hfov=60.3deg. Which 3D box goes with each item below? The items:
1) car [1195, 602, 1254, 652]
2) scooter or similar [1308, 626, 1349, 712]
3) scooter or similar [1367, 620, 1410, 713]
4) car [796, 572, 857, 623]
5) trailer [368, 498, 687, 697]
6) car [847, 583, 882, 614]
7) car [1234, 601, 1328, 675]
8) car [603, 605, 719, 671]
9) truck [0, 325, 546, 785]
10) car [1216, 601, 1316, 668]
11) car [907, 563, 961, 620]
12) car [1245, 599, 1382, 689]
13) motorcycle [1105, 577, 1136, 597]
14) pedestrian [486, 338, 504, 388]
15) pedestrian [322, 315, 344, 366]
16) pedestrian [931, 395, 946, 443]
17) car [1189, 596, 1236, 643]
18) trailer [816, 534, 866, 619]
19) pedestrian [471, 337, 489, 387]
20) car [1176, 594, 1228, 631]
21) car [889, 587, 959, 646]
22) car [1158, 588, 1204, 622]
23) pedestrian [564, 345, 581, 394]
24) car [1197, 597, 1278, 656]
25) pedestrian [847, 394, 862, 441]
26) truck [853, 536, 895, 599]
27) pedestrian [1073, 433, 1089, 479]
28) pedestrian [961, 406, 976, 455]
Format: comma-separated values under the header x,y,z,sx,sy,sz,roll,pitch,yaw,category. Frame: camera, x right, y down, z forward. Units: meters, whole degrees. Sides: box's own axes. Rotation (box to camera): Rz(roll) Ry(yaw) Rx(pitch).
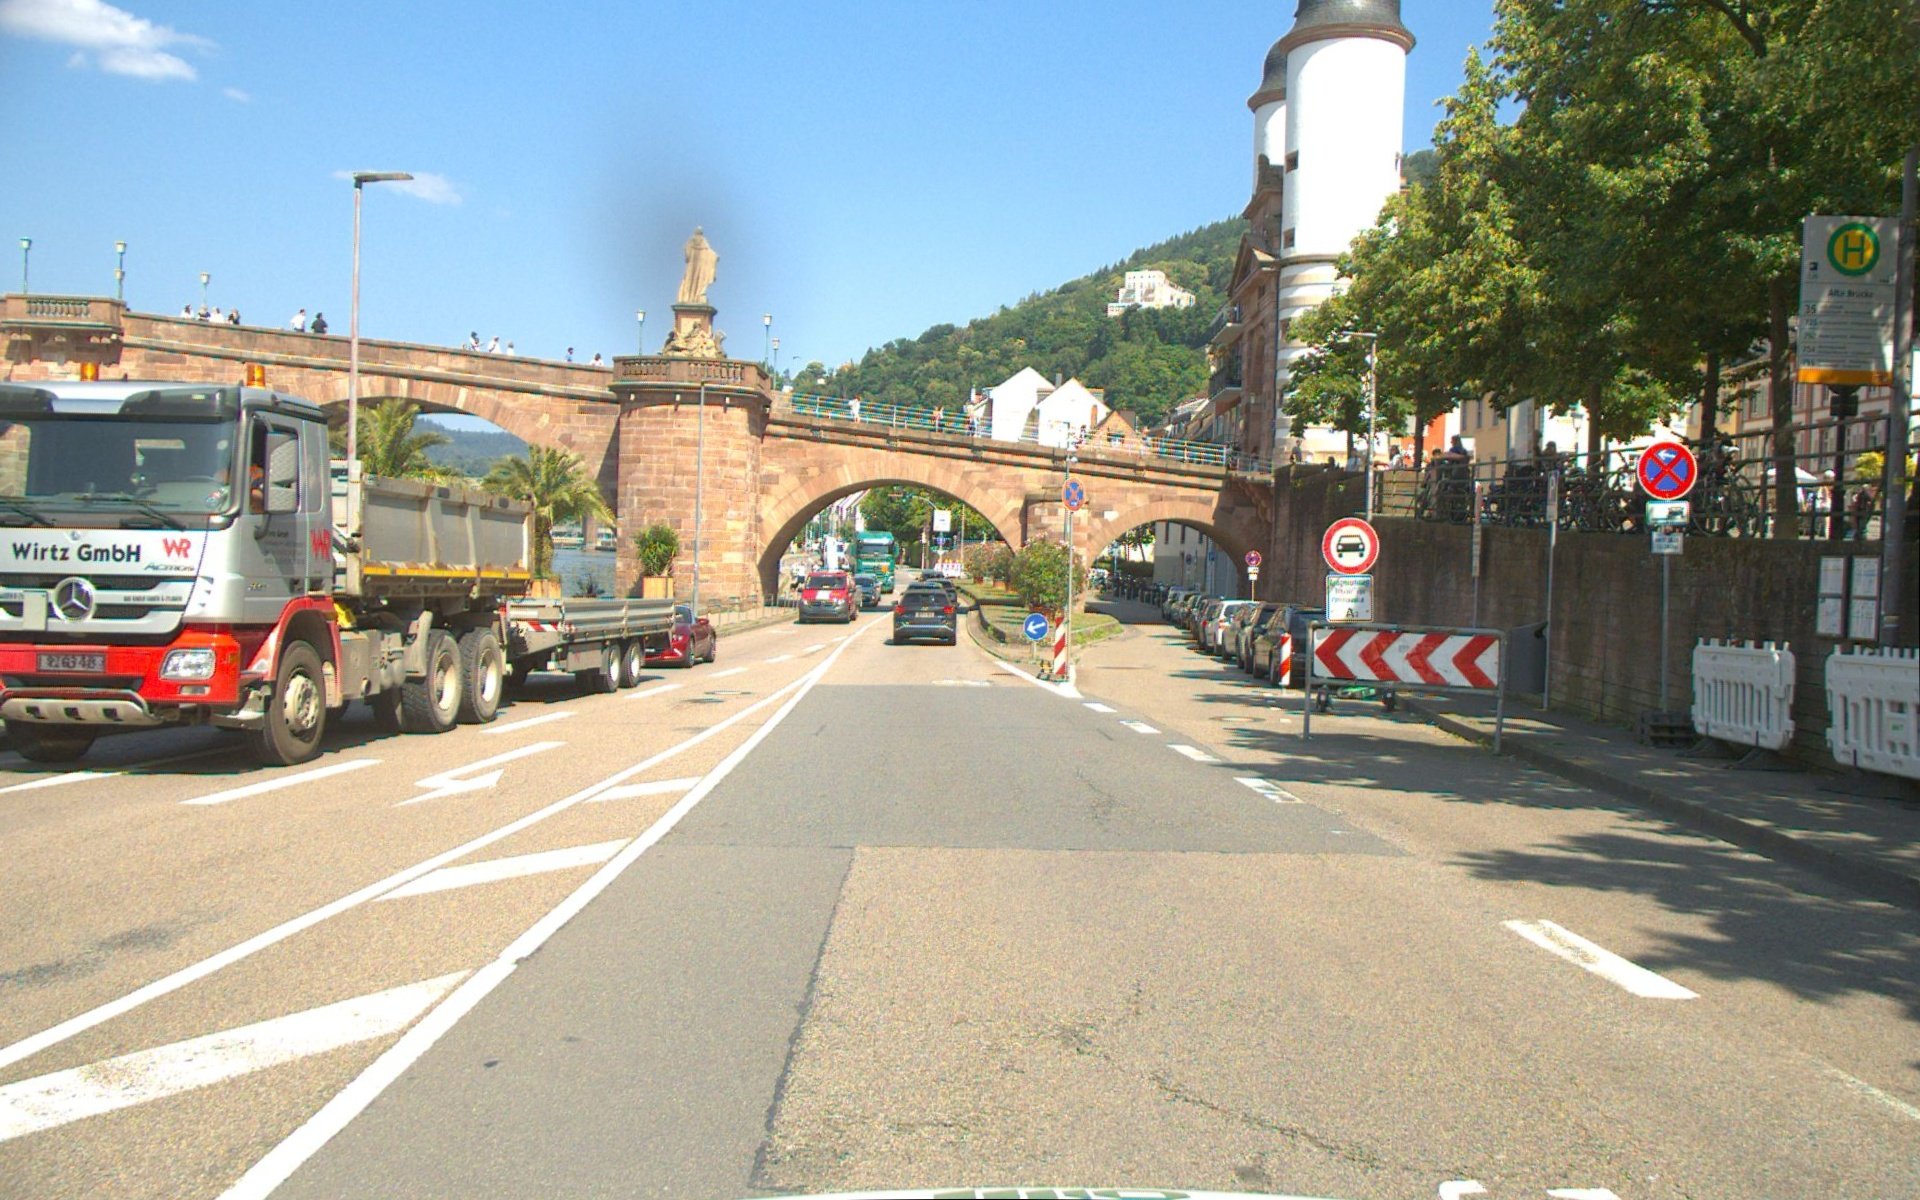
x,y,z,sx,sy,sz,roll,pitch,yaw,category
7.912,0.781,49.638,1.674,1.413,4.411,0,0,8,car
5.073,0.936,22.798,0.520,1.108,1.440,1,0,12,scooter or similar
6.089,0.925,23.479,0.520,1.252,1.272,1,0,17,scooter or similar
-5.003,-0.129,62.451,1.835,1.859,4.545,0,1,1,car
-6.195,-0.026,24.930,2.641,2.575,6.950,0,0,3,trailer
-4.776,-0.096,83.212,1.503,1.462,3.728,0,1,0,car
6.866,0.763,35.621,1.578,1.438,3.906,2,0,5,car
-5.976,0.737,33.442,1.637,1.215,3.629,0,0,1,car
-6.650,-0.346,16.653,2.587,3.517,7.874,0,0,3,truck
7.420,0.788,40.497,1.717,1.457,4.758,2,0,2,car
-0.957,-0.328,62.562,1.953,2.049,4.000,1,1,0,car
6.496,0.753,30.807,1.804,1.475,4.537,2,0,3,car
10.597,-0.833,109.231,2.175,1.289,0.620,0,2,-39,motorcycle
-20.083,-10.243,71.431,0.612,2.049,0.694,1,0,-7,pedestrian
-26.787,-11.092,70.696,0.679,2.049,0.625,1,0,-3,pedestrian
-0.963,-8.106,74.051,0.670,2.049,0.586,1,0,0,pedestrian
9.064,0.664,59.124,1.557,1.547,3.906,2,1,10,car
-4.838,-0.975,67.767,1.705,3.378,3.385,0,1,2,trailer
-20.674,-10.250,71.261,0.612,2.049,0.694,1,0,-7,pedestrian
10.321,0.510,70.703,1.738,1.461,4.494,1,1,3,car
-0.980,0.442,46.578,1.819,1.550,4.000,1,1,0,car
10.719,0.210,80.443,1.853,1.518,4.419,1,1,3,car
-16.731,-9.951,71.436,0.612,2.049,0.694,1,0,-7,pedestrian
7.616,0.700,45.634,1.675,1.483,3.548,2,0,1,car
-4.734,-8.165,74.184,0.569,2.049,0.586,1,0,0,pedestrian
-5.375,-2.122,104.437,2.472,3.813,6.246,0,2,-1,truck
5.558,-6.636,76.156,0.670,2.049,0.586,1,0,0,pedestrian
0.368,-7.293,71.140,0.611,2.049,0.695,1,0,1,pedestrian
